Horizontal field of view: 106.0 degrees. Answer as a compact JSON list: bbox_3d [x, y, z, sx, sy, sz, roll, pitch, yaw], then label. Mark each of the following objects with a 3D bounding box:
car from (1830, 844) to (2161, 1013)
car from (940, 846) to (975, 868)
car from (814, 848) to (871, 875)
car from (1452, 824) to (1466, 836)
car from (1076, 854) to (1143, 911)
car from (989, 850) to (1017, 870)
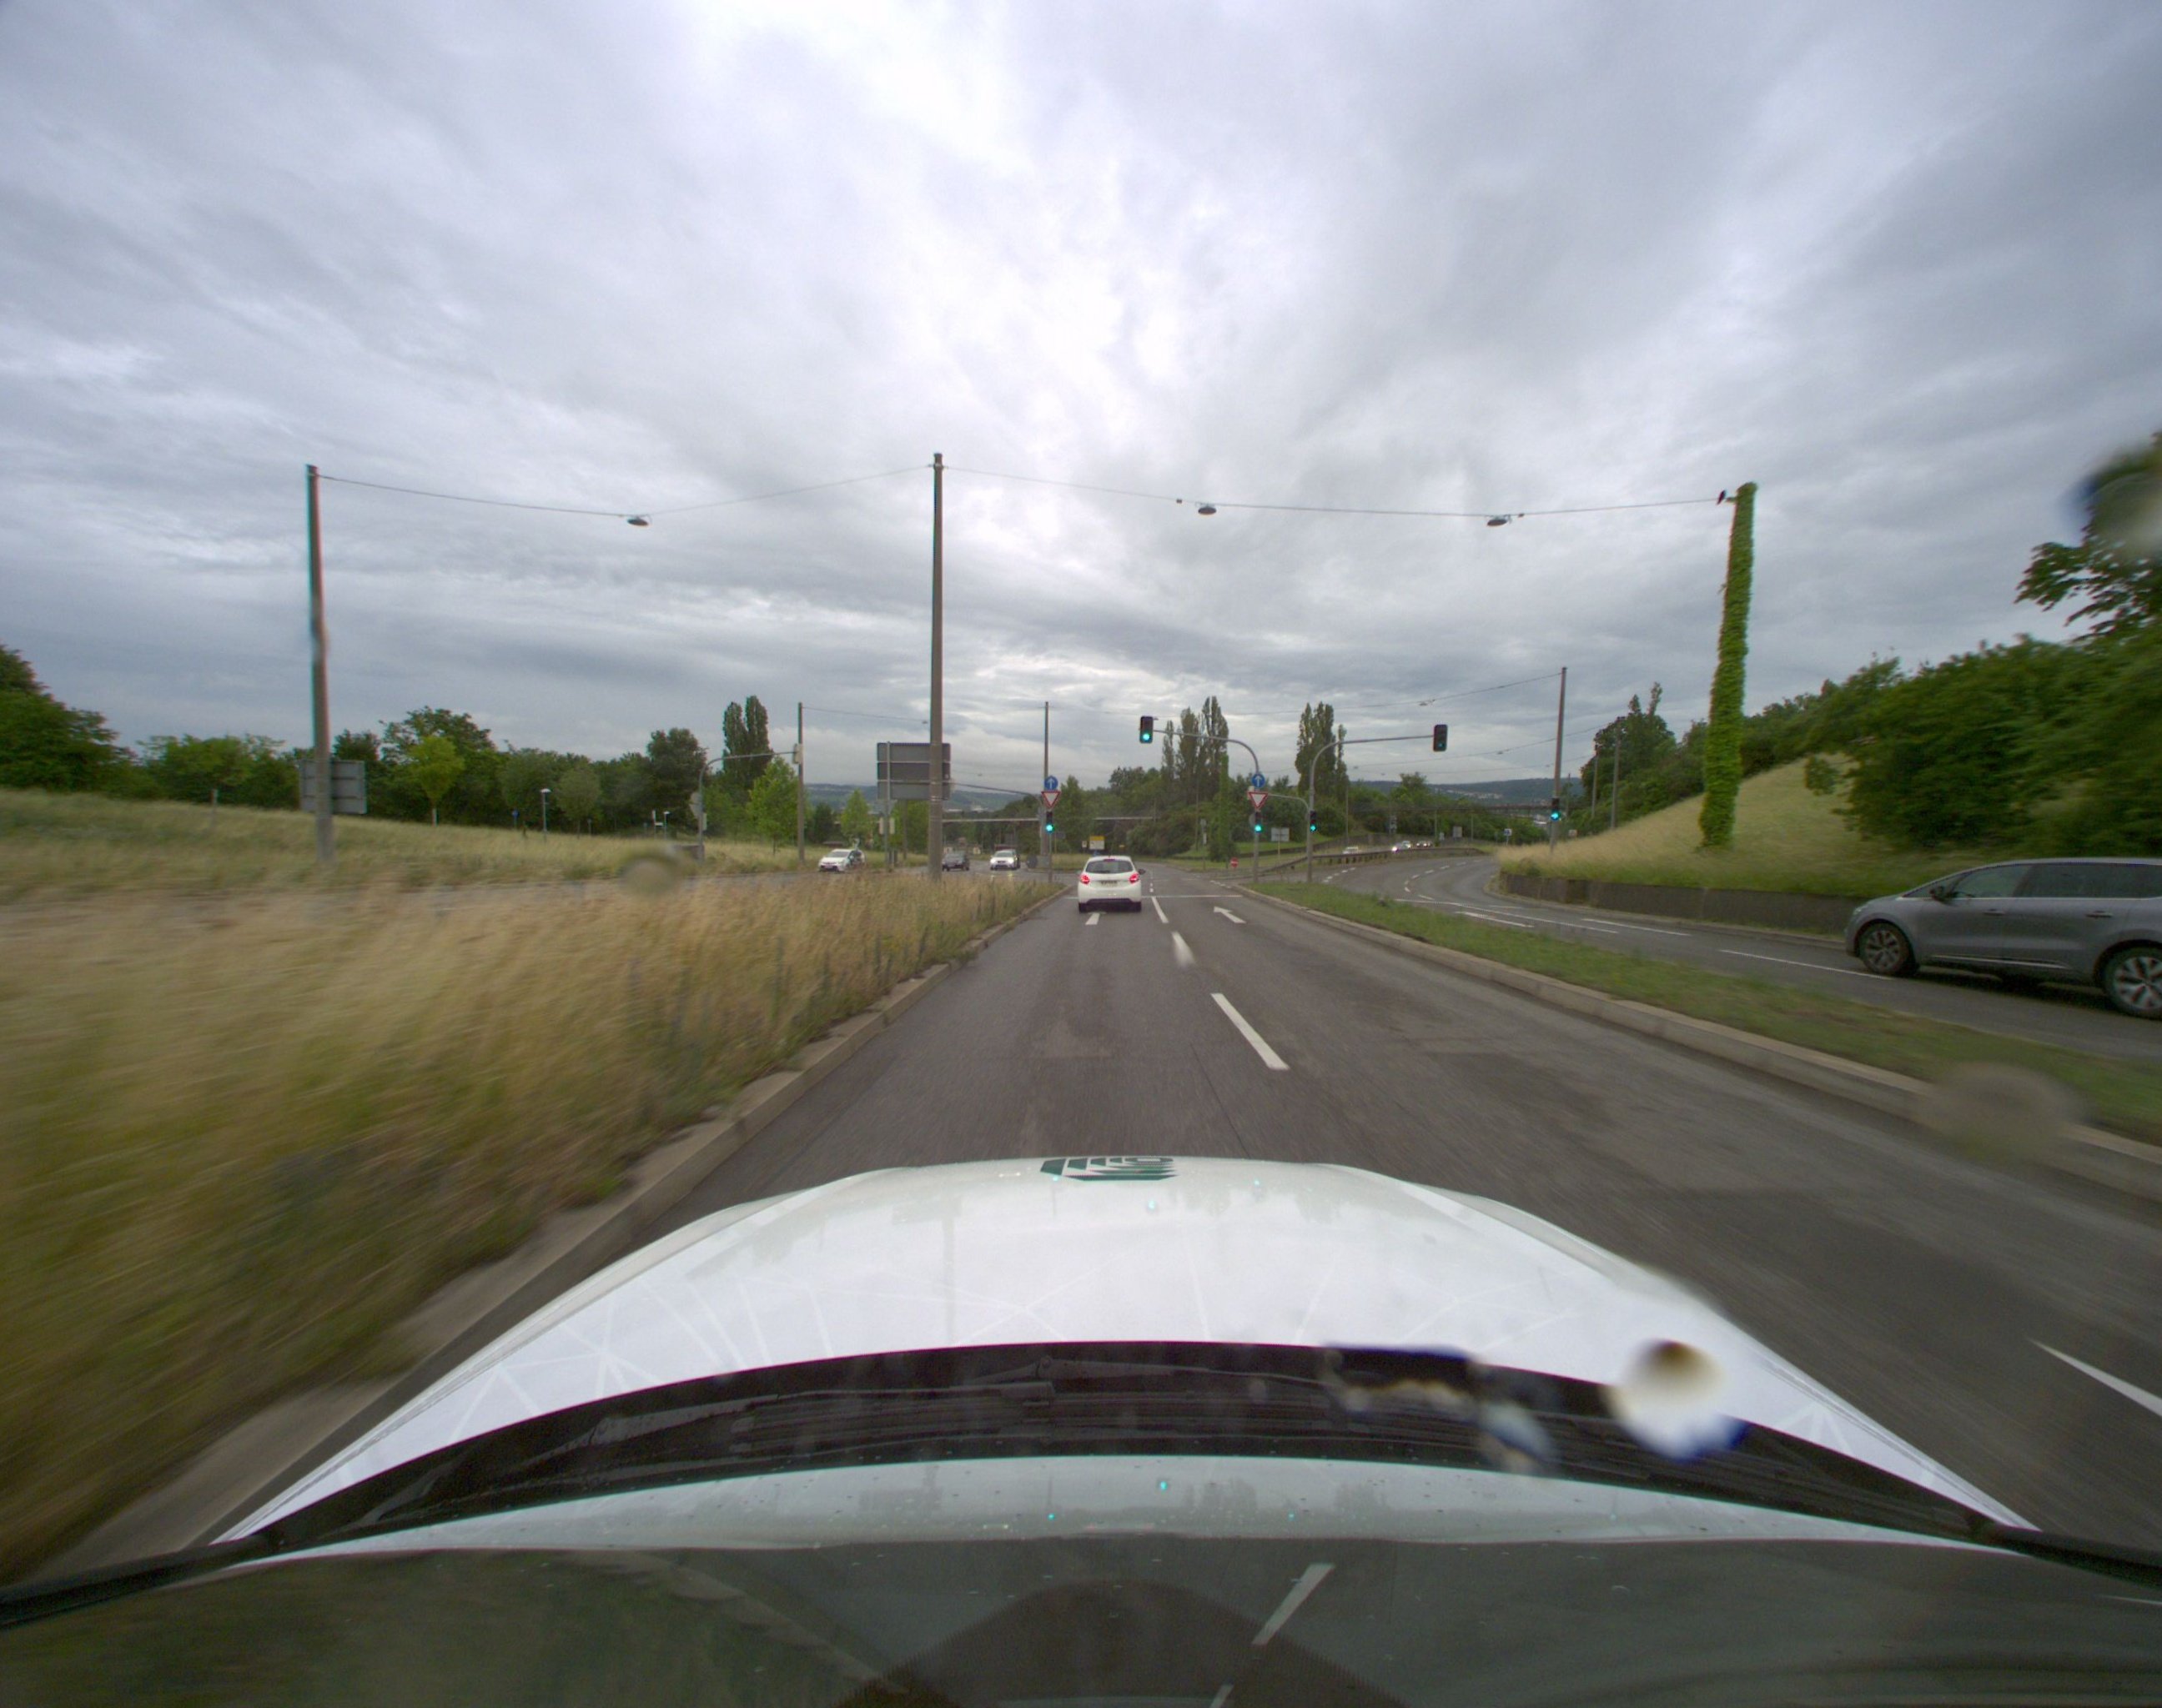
[{"bbox_3d":[11.614,0.759,9.535,1.717,1.649,4.632,2,0,5],"label":"car"},{"bbox_3d":[-8.848,0.257,58.771,1.889,1.537,3.999,1,-1,0],"label":"car"},{"bbox_3d":[-15.391,0.483,52.779,1.876,1.611,4.683,1,-1,5],"label":"car"},{"bbox_3d":[71.390,-4.589,153.859,2.055,2.083,4.400,2,4,29],"label":"car"},{"bbox_3d":[0.875,0.748,22.696,1.701,1.440,3.694,-1,-1,4],"label":"car"},{"bbox_3d":[-5.780,0.464,60.947,1.732,1.373,3.998,1,-1,-1],"label":"car"}]
